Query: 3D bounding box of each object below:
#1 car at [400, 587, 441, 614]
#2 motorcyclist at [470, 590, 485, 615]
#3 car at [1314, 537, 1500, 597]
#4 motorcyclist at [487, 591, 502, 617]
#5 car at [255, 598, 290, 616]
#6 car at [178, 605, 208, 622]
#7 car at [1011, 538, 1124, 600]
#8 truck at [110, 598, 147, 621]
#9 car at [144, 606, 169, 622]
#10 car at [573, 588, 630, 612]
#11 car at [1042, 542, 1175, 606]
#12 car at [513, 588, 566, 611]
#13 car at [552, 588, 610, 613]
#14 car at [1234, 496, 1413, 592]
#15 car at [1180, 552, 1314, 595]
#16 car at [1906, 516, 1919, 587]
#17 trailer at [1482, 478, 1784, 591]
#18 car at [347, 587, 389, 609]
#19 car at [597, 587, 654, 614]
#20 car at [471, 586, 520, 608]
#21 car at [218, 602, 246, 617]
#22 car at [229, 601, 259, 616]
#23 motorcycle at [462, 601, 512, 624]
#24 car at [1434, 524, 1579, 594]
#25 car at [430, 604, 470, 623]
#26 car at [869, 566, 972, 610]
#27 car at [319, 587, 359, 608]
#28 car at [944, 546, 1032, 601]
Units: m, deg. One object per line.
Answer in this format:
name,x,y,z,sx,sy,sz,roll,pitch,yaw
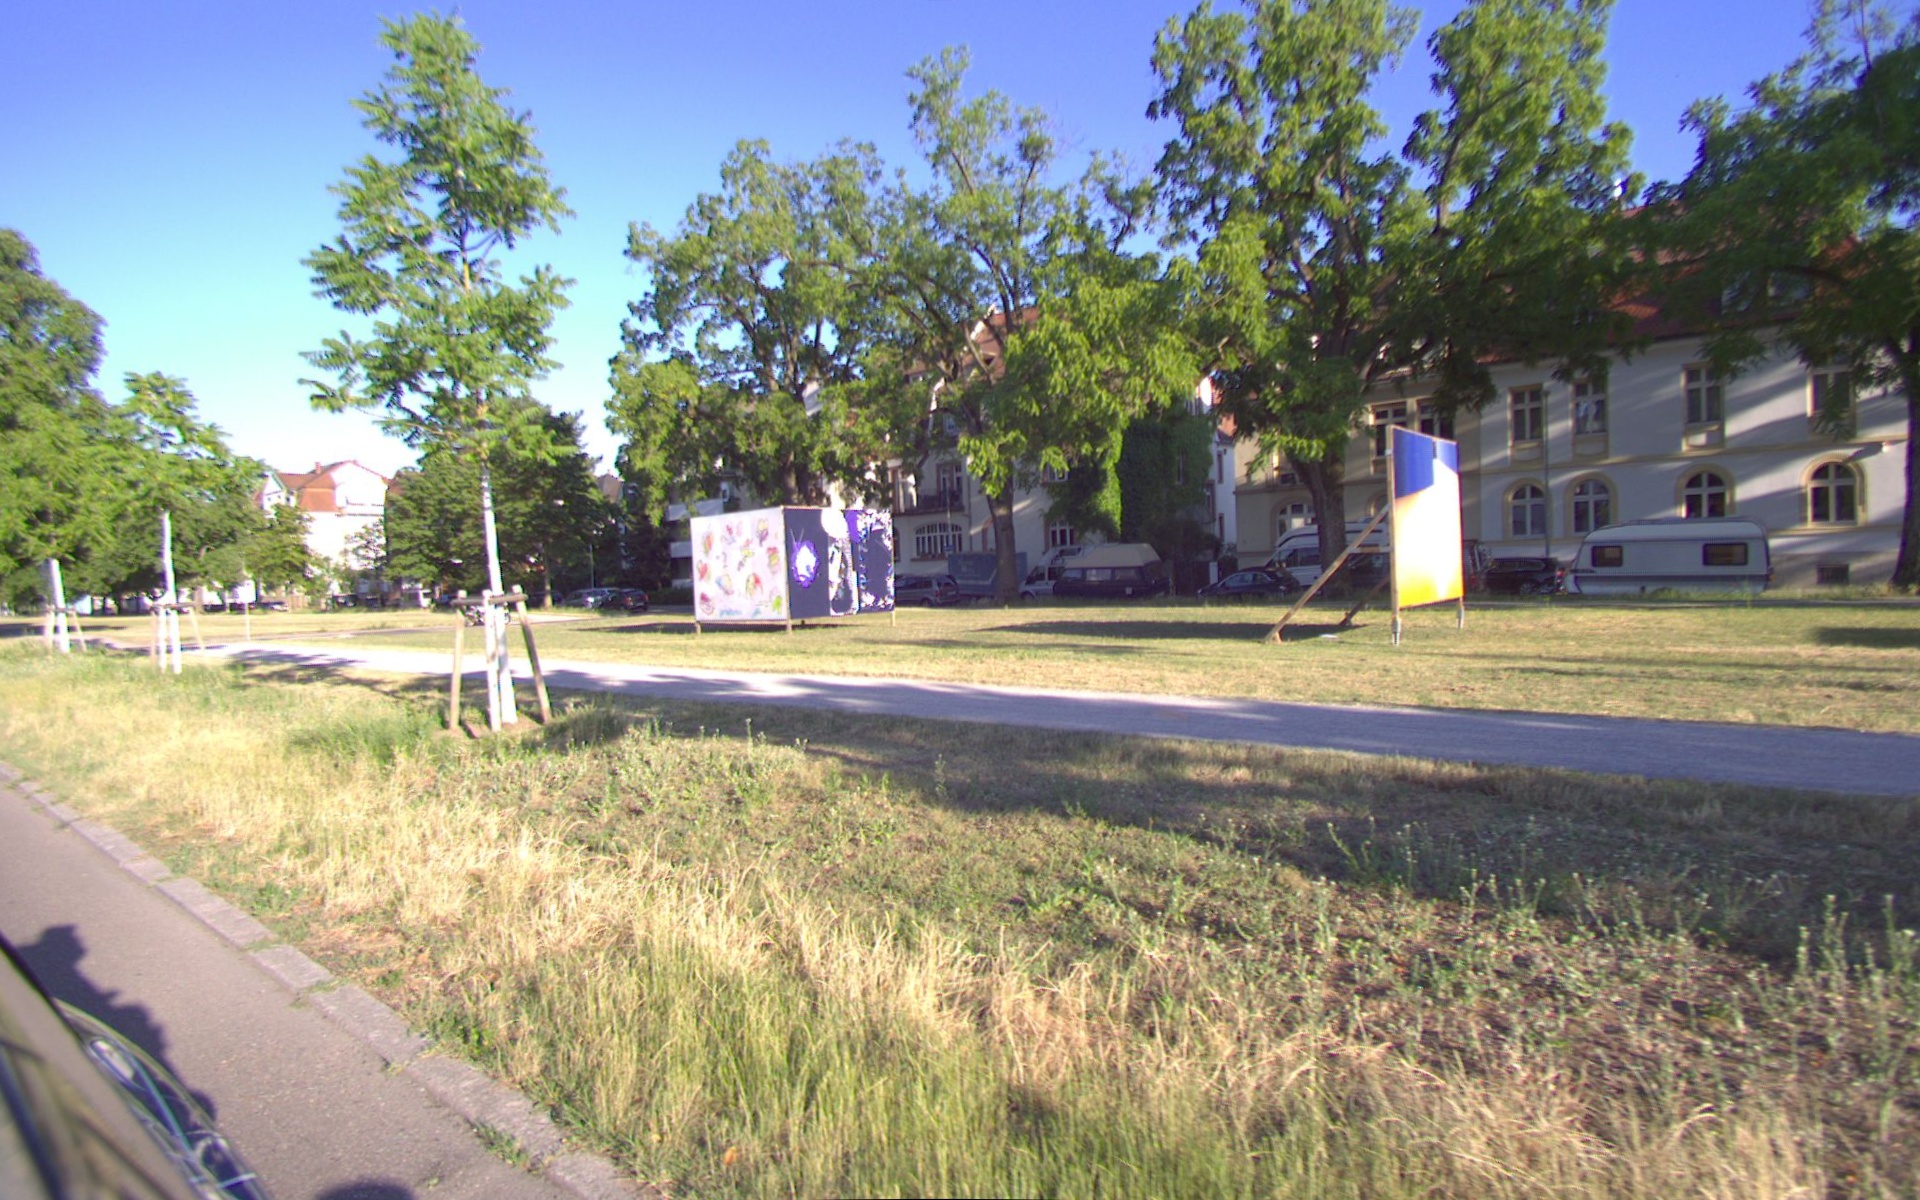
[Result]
car,-50.602,0.065,94.912,4.001,2.026,1.974,-3,8,44
motorcyclist,-22.397,0.107,46.992,0.565,1.158,0.753,-3,1,-27
car,13.866,-1.009,31.541,4.946,1.654,1.974,0,3,39
motorcyclist,-21.801,0.186,47.395,0.565,1.158,0.753,-3,1,-27
car,-71.786,0.757,105.673,3.998,1.715,1.973,-2,1,41
car,-95.264,1.638,125.702,3.996,2.029,2.099,0,-1,39
car,4.926,-1.378,46.854,5.042,2.659,1.925,0,-1,41
truck,-122.474,1.369,149.042,7.703,3.169,2.751,-1,2,40
car,-110.414,1.920,139.049,4.000,2.028,1.972,-2,1,43
car,-26.026,-0.004,73.490,3.992,1.510,1.976,-2,1,36
car,5.613,-0.961,38.567,4.565,2.190,1.975,-2,1,39
car,-28.015,-0.035,67.395,3.636,1.379,1.542,-2,1,36
car,-23.933,0.011,63.811,3.636,1.418,1.672,-2,1,36
car,13.886,-2.065,38.952,6.071,3.273,1.973,-2,1,41
car,9.844,-0.898,34.917,4.043,1.325,1.833,0,3,44
car,28.343,-1.408,26.791,4.712,1.926,1.870,-1,2,42
trailer,18.189,-1.624,27.616,6.632,2.679,2.448,0,-1,40
car,-51.320,-0.199,87.669,3.999,1.858,1.972,0,-1,42
car,-20.262,0.026,61.191,1.868,1.534,3.683,-3,1,-44
car,-32.992,-0.183,71.892,3.636,1.426,1.542,-2,1,36
car,-96.631,1.256,134.284,3.994,1.859,1.974,0,-1,38
car,-91.012,1.056,128.639,3.994,1.896,1.974,0,-1,38
motorcycle,-22.077,0.562,47.273,2.074,0.964,0.568,-3,1,-25
car,18.602,-1.378,34.510,3.998,2.170,1.973,-1,2,41
car,-45.953,1.187,91.095,4.001,1.617,1.971,0,-1,43
car,-1.809,-0.514,45.105,4.340,1.741,1.974,-2,1,40
car,-56.485,-0.238,92.048,3.999,1.858,1.972,0,-1,42
car,1.341,-1.327,49.870,3.998,2.560,1.973,1,3,41
